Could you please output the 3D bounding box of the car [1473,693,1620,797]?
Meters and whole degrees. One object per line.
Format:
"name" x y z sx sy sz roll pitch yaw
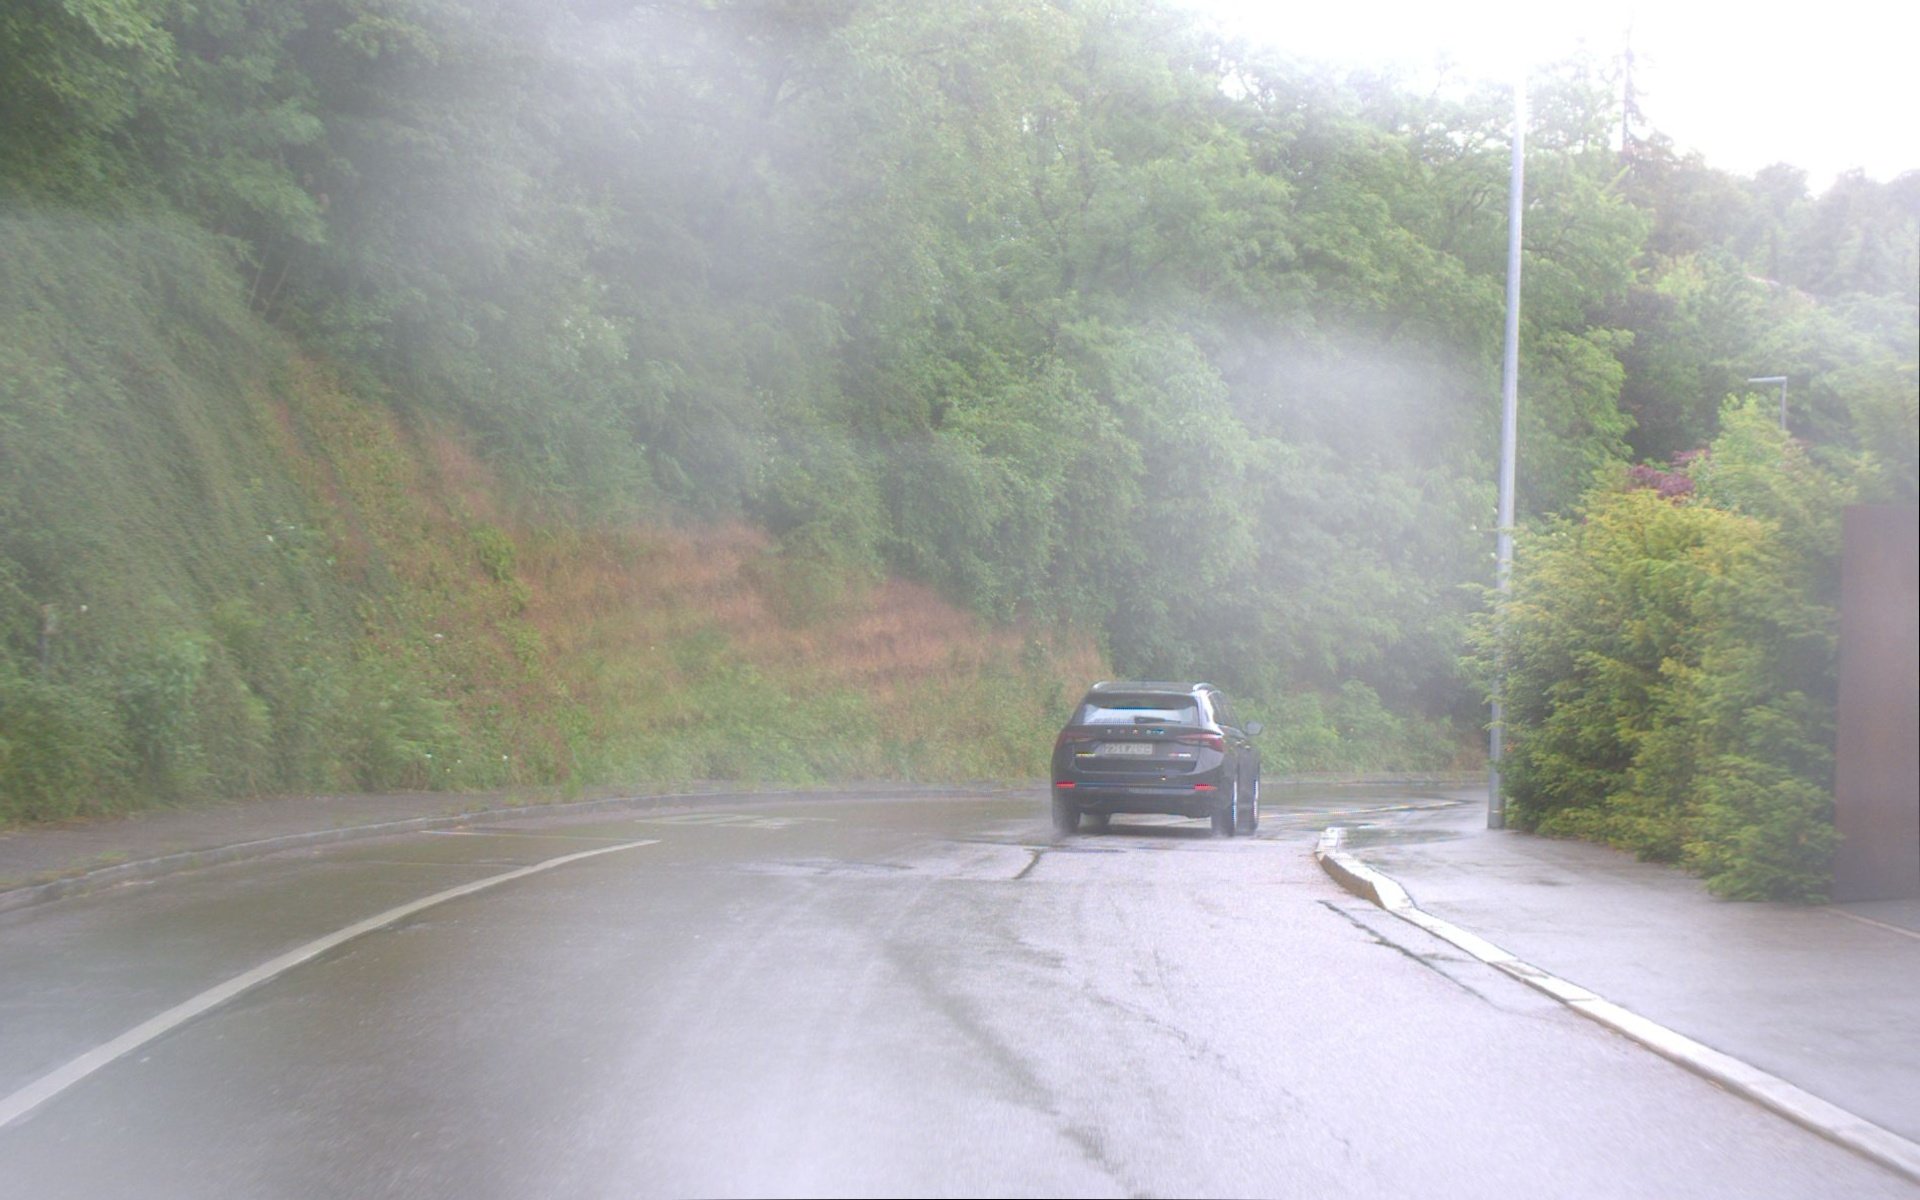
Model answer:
"car" 11.154 2.711 65.170 1.995 1.600 4.405 2 2 19

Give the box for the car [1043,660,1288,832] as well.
"car" 2.086 1.428 33.826 1.869 1.507 4.090 2 -2 10

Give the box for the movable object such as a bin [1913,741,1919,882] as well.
"movable object such as a bin" 2.856 0.884 8.405 0.789 1.092 0.675 -3 0 -3
